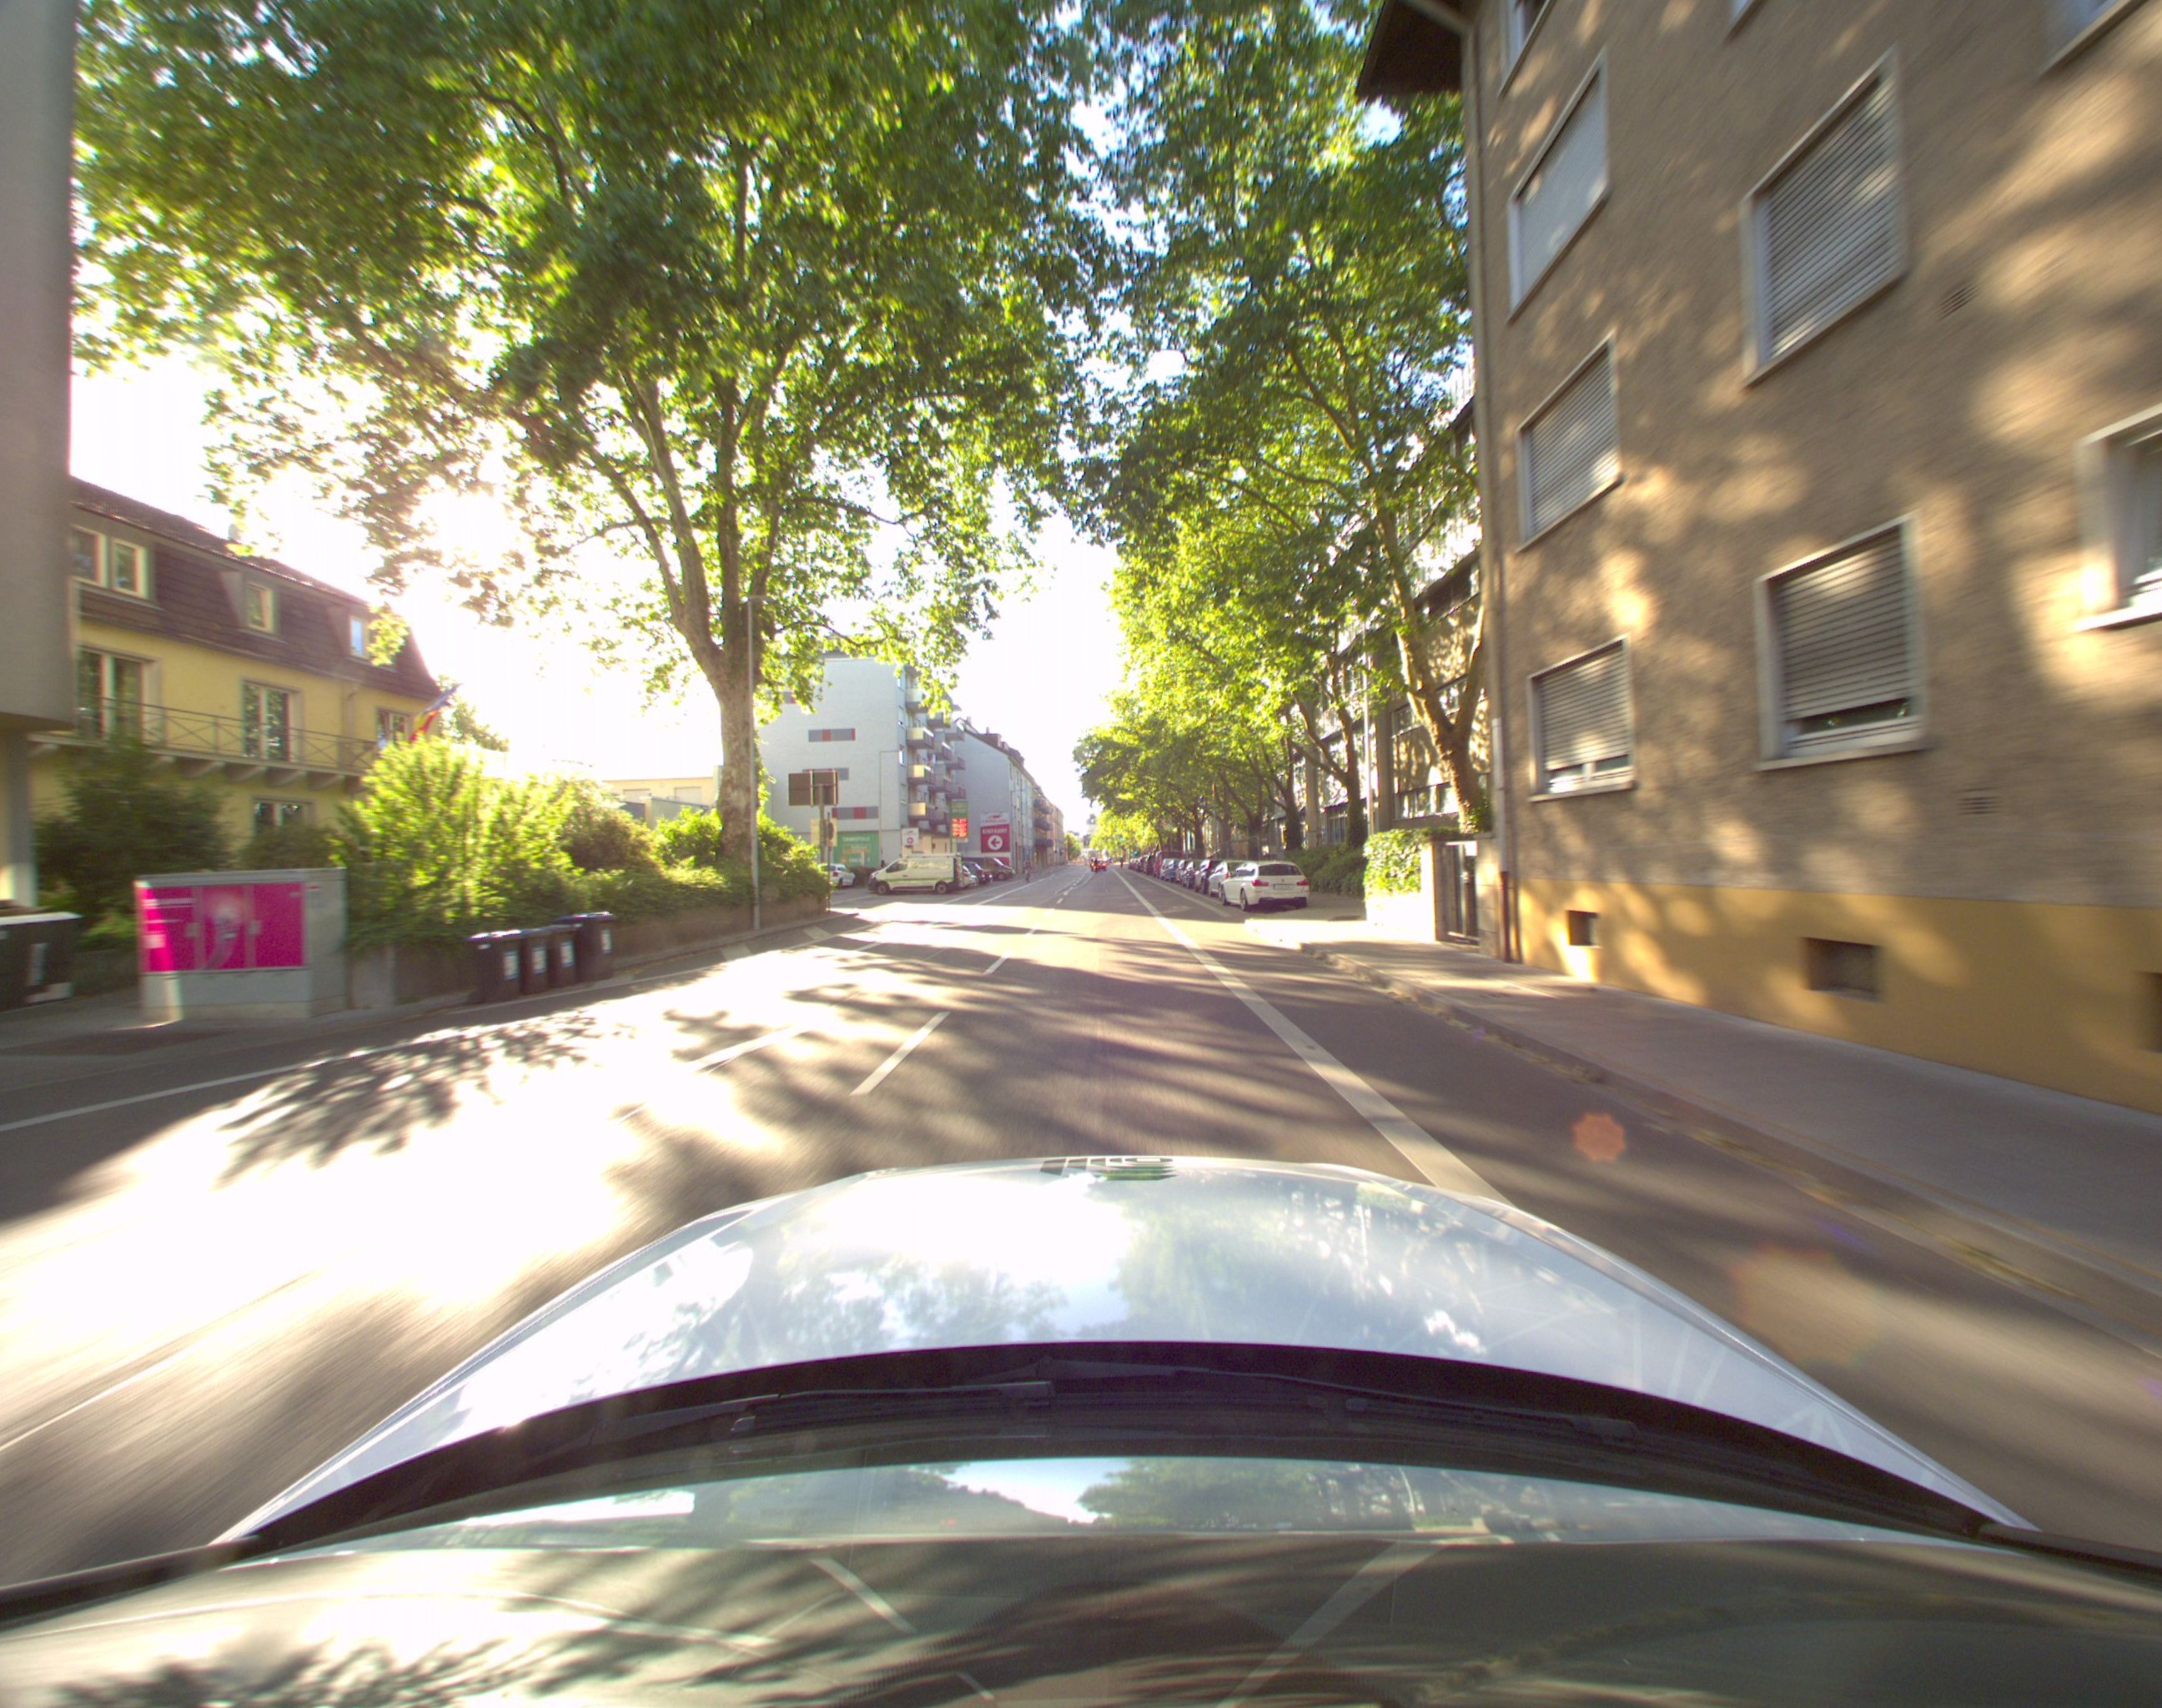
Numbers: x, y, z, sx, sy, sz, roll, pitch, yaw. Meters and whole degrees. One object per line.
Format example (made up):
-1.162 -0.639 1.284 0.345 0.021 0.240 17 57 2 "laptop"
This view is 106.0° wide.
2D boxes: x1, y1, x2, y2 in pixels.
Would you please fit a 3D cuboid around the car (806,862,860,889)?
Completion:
-14.085 1.186 46.499 1.783 1.464 4.001 1 0 1 "car"

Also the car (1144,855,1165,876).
6.583 0.983 73.189 1.686 1.813 4.132 0 0 2 "car"

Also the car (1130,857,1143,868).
7.496 1.148 109.994 1.686 1.466 4.067 1 0 2 "car"

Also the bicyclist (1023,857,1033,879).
-3.815 0.985 58.808 0.604 1.545 0.934 -3 0 1 "bicyclist"

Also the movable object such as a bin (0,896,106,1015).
-13.699 1.261 10.223 1.183 1.343 1.368 3 0 1 "movable object such as a bin"

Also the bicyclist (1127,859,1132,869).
7.270 1.539 122.389 0.654 1.530 0.906 0 -1 0 "bicyclist"

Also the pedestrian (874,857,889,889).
-11.587 1.094 47.300 0.629 1.789 0.722 -1 0 1 "pedestrian"

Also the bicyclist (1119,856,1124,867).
5.706 1.049 114.302 0.654 1.530 0.852 0 -1 0 "bicyclist"

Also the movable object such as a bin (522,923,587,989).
-8.014 1.541 12.407 0.539 0.901 0.645 -2 -1 1 "movable object such as a bin"

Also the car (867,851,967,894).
-8.602 0.965 43.107 4.827 2.217 2.140 0 -1 0 "car"

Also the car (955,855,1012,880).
-8.112 1.120 68.220 4.405 1.952 2.146 1 0 1 "car"

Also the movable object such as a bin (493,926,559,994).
-8.027 1.521 11.790 0.539 0.901 0.559 -2 -1 1 "movable object such as a bin"

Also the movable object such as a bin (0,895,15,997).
-14.939 1.196 10.235 1.183 1.343 1.368 3 0 1 "movable object such as a bin"

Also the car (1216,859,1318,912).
5.568 0.896 25.114 1.850 1.436 4.966 -1 0 -2 "car"

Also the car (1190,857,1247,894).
5.994 0.915 35.962 1.849 1.523 4.297 0 0 0 "car"

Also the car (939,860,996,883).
-7.966 1.222 57.416 3.672 1.513 1.831 1 -1 0 "car"

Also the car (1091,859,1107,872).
2.191 1.389 99.681 1.822 1.420 3.815 -1 0 0 "car"

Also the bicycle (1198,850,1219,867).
16.404 0.595 104.940 2.588 2.014 0.742 -2 -1 0 "bicycle"

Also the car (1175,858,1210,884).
6.513 0.960 48.029 1.608 1.475 3.492 1 0 0 "car"

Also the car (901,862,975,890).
-8.312 1.286 47.645 3.973 1.559 1.853 0 0 0 "car"

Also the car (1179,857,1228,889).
6.246 0.927 41.992 1.849 1.522 4.599 0 0 0 "car"

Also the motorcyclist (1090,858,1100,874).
1.461 1.264 86.011 1.009 1.602 1.406 -2 -1 0 "motorcyclist"

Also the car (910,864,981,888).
-8.226 1.332 49.683 3.973 1.433 1.853 0 0 0 "car"

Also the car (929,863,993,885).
-8.070 1.326 54.993 3.973 1.456 1.916 0 0 0 "car"

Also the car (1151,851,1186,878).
6.574 0.770 61.812 2.072 1.994 5.169 0 0 -1 "car"

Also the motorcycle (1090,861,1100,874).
1.455 1.440 85.904 1.009 1.306 2.672 -2 -1 0 "motorcycle"

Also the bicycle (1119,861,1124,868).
5.707 1.460 114.340 0.654 1.070 1.927 0 -1 1 "bicycle"

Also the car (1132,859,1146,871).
7.408 1.381 104.313 1.687 1.479 4.319 1 0 1 "car"

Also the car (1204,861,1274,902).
5.962 0.989 31.220 1.849 1.436 4.602 0 0 0 "car"

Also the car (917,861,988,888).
-8.227 1.272 52.427 4.179 1.684 2.028 0 -1 0 "car"

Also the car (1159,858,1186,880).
6.320 1.042 56.780 1.631 1.485 3.762 0 0 3 "car"

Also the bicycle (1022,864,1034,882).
-3.784 1.365 58.492 0.604 1.239 2.050 -3 0 1 "bicycle"

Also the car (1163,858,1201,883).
6.443 1.031 52.425 1.850 1.511 3.926 1 0 -2 "car"

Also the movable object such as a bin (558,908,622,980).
-7.864 1.436 13.063 0.592 1.071 0.645 -2 -1 1 "movable object such as a bin"

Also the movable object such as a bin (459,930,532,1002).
-8.040 1.528 11.197 0.539 0.901 0.604 -2 -1 1 "movable object such as a bin"

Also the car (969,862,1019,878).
-7.826 1.459 73.679 4.213 1.380 2.046 0 -1 1 "car"

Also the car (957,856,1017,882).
-7.501 1.195 65.474 4.506 1.952 2.057 1 0 1 "car"
